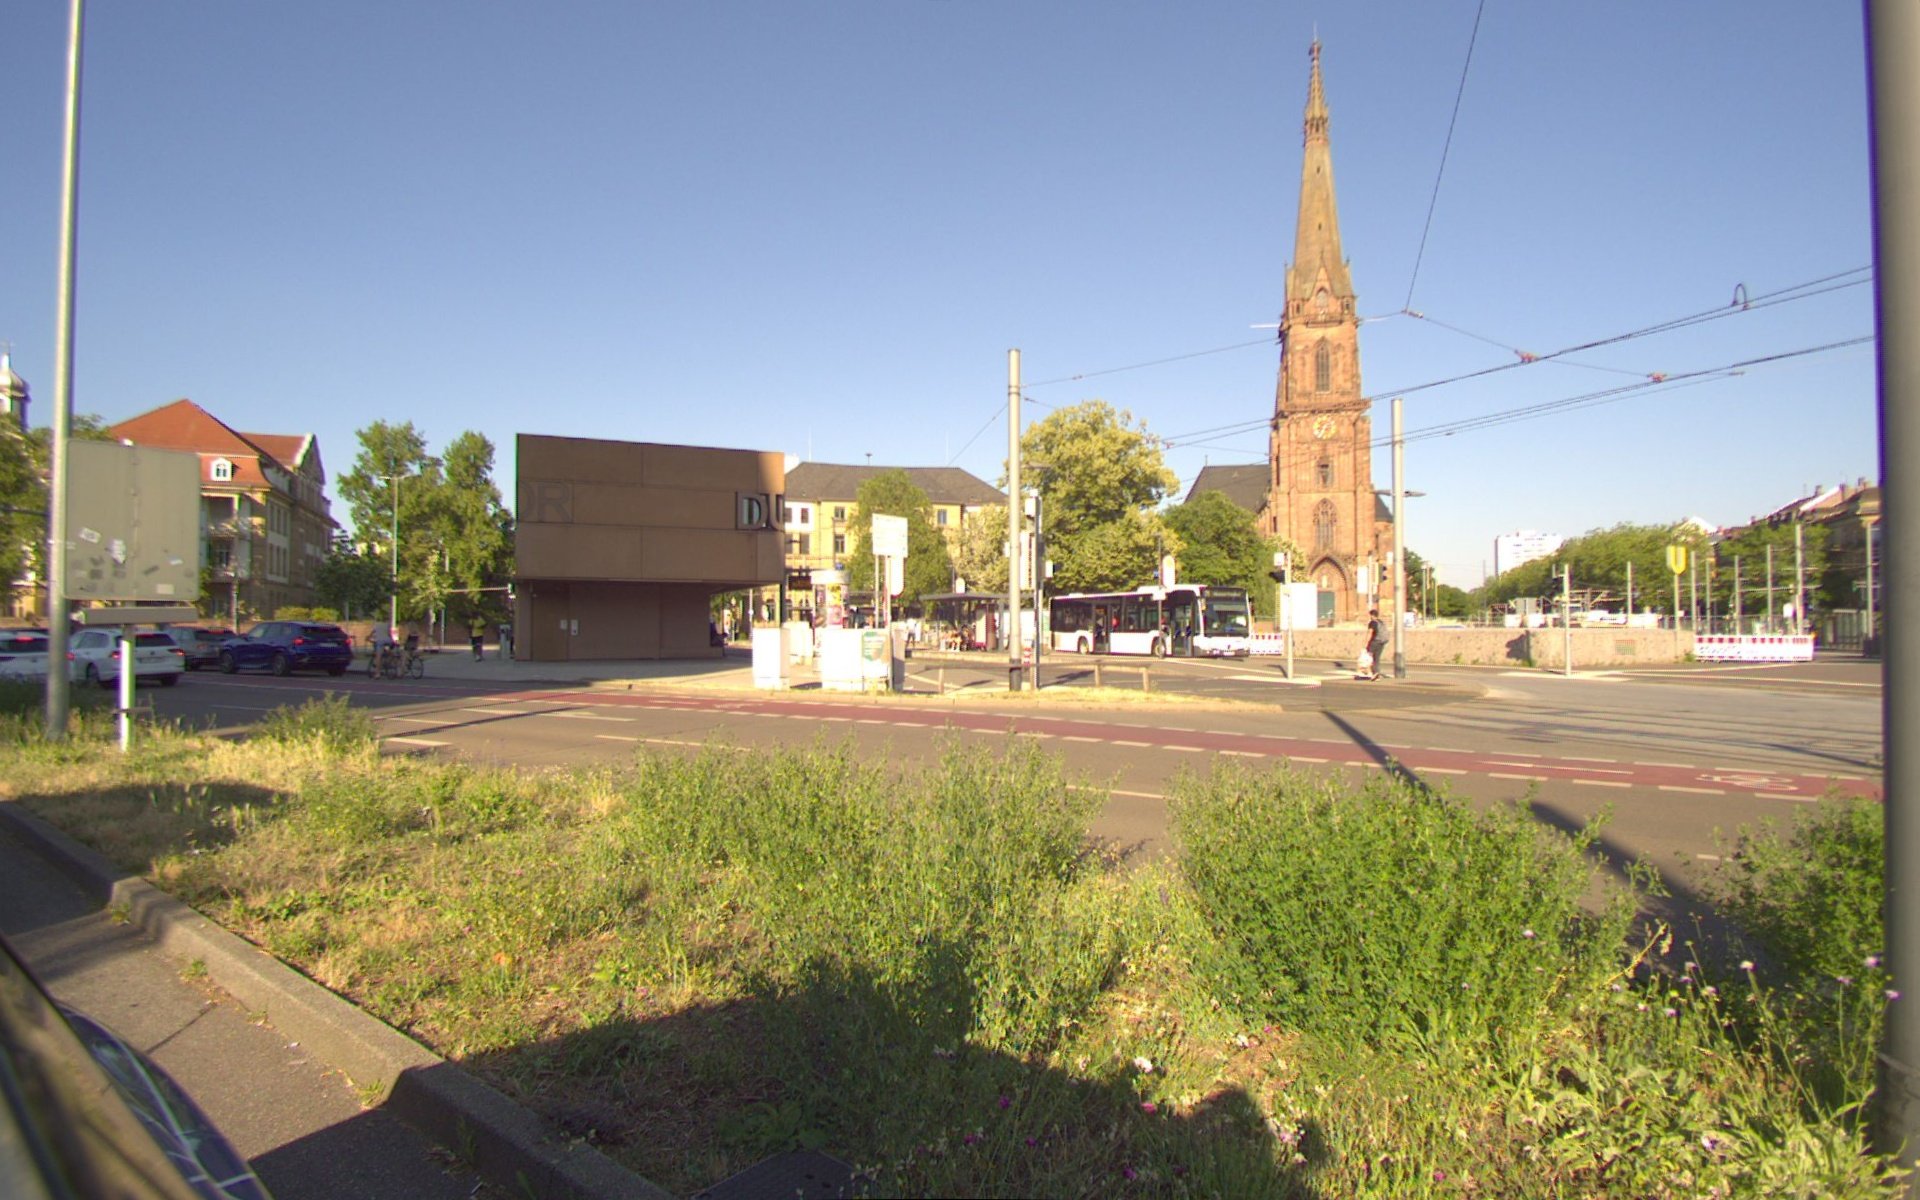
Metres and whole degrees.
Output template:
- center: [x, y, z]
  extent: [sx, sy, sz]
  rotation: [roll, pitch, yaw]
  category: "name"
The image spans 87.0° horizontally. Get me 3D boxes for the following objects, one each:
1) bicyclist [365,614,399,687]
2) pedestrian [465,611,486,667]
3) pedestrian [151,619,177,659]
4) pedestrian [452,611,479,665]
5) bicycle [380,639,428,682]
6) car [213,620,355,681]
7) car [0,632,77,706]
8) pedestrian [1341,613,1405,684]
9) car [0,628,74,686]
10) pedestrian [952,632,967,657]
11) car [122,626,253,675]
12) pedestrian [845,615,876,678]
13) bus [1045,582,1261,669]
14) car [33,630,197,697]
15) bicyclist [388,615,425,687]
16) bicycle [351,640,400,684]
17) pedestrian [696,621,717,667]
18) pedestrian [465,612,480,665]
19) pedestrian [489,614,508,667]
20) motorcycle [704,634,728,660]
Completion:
- center: [-16.307, 1.425, 28.548]
  extent: [0.562, 2.029, 0.605]
  rotation: [-1, -2, 25]
  category: "bicyclist"
- center: [-17.740, 1.417, 37.041]
  extent: [0.645, 2.029, 0.470]
  rotation: [-1, 0, -29]
  category: "pedestrian"
- center: [-38.680, 1.902, 49.181]
  extent: [0.787, 1.911, 0.612]
  rotation: [0, -2, -9]
  category: "pedestrian"
- center: [-18.769, 1.425, 38.409]
  extent: [0.765, 2.029, 0.775]
  rotation: [-1, 0, -37]
  category: "pedestrian"
- center: [-16.061, 1.737, 29.240]
  extent: [1.388, 1.201, 0.461]
  rotation: [-1, 0, 24]
  category: "bicycle"
- center: [-20.114, 1.459, 30.086]
  extent: [4.168, 1.703, 1.740]
  rotation: [-1, -1, 28]
  category: "car"
- center: [-21.584, 1.479, 22.361]
  extent: [4.168, 1.471, 1.740]
  rotation: [-1, 0, 27]
  category: "car"
- center: [10.196, 1.176, 25.020]
  extent: [1.025, 1.696, 1.007]
  rotation: [-1, 0, -25]
  category: "pedestrian"
- center: [-26.986, 1.594, 29.343]
  extent: [1.730, 1.471, 4.192]
  rotation: [-1, 0, -44]
  category: "car"
- center: [-0.040, 2.191, 49.941]
  extent: [0.531, 1.196, 0.660]
  rotation: [-1, 0, -21]
  category: "pedestrian"
- center: [-25.270, 1.646, 33.080]
  extent: [4.375, 1.503, 1.831]
  rotation: [-1, -4, 30]
  category: "car"
- center: [-2.854, 1.314, 28.980]
  extent: [0.702, 1.771, 0.584]
  rotation: [-1, 0, -30]
  category: "pedestrian"
- center: [7.720, 0.964, 43.306]
  extent: [2.655, 3.174, 12.216]
  rotation: [-1, 0, -23]
  category: "bus"
- center: [-21.399, 1.543, 25.588]
  extent: [4.375, 1.503, 1.831]
  rotation: [-1, 0, 30]
  category: "car"
- center: [-15.966, 1.455, 29.188]
  extent: [0.705, 2.029, 0.605]
  rotation: [-1, -2, 25]
  category: "bicyclist"
- center: [-16.557, 1.744, 28.665]
  extent: [1.388, 1.201, 0.461]
  rotation: [-1, 0, 24]
  category: "bicycle"
- center: [-11.306, 1.957, 45.178]
  extent: [0.762, 2.029, 0.778]
  rotation: [-1, 0, -2]
  category: "pedestrian"
- center: [-19.098, 1.504, 39.631]
  extent: [0.460, 2.029, 0.658]
  rotation: [-1, 0, -32]
  category: "pedestrian"
- center: [-18.066, 1.577, 39.625]
  extent: [0.645, 2.029, 0.470]
  rotation: [-1, 0, -29]
  category: "pedestrian"
- center: [-10.129, 1.954, 42.060]
  extent: [0.935, 1.075, 0.331]
  rotation: [-1, 0, -11]
  category: "motorcycle"
